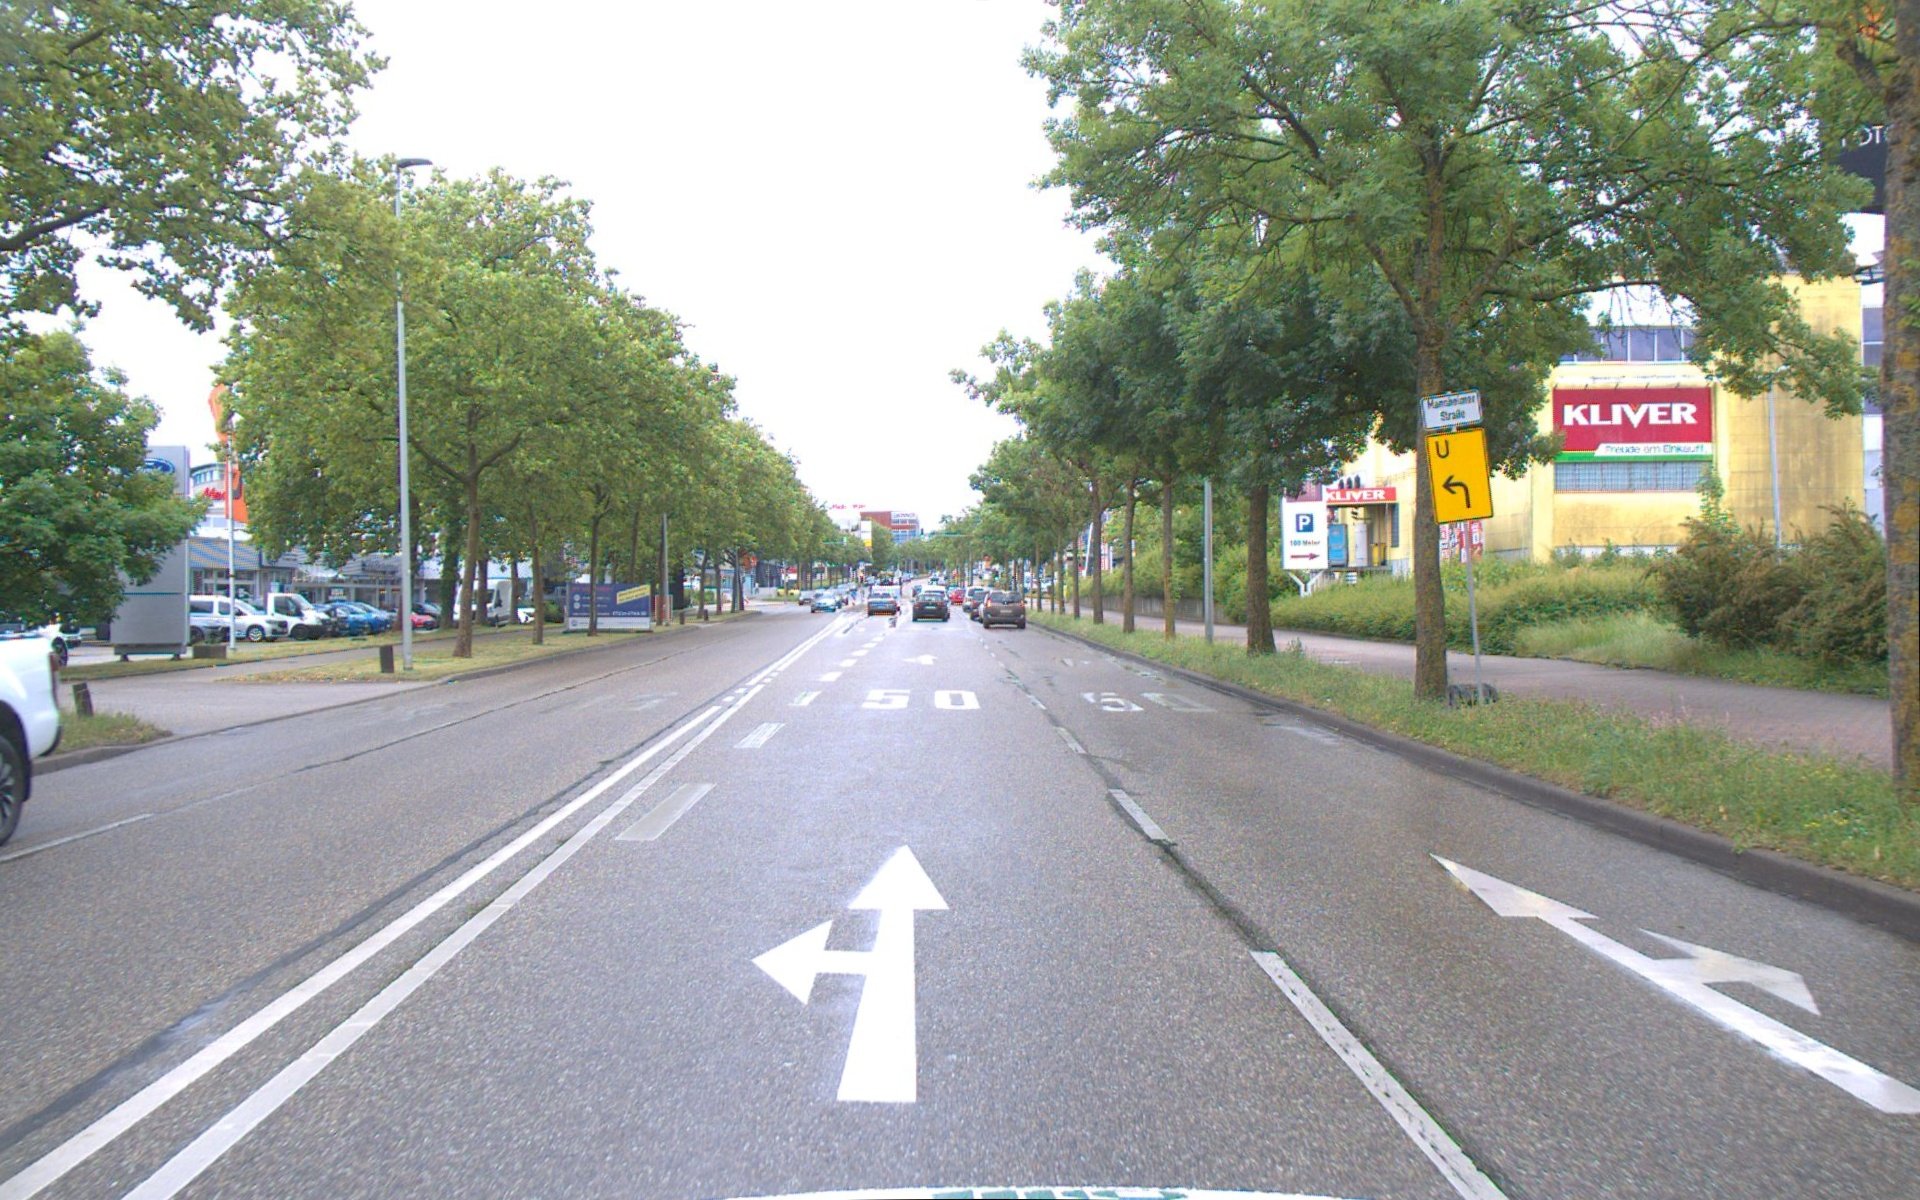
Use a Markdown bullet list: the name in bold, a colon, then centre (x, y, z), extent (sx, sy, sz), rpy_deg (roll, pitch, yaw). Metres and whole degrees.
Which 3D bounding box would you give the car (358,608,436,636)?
- **car**: centre (-32.185, 1.249, 94.550), extent (3.901, 1.493, 1.601), rpy_deg (-1, 0, 11)

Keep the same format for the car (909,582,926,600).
- **car**: centre (-5.005, -1.090, 196.950), extent (1.953, 2.049, 3.999), rpy_deg (1, 0, -1)

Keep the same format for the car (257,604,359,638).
- **car**: centre (-30.213, 0.954, 76.722), extent (3.904, 1.486, 2.034), rpy_deg (-1, 0, 1)

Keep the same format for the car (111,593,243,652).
- **car**: centre (-28.739, 0.819, 60.818), extent (3.908, 2.049, 1.881), rpy_deg (-1, 0, -4)

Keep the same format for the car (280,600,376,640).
- **car**: centre (-30.263, 0.954, 79.210), extent (3.902, 1.797, 1.867), rpy_deg (-1, 0, 14)

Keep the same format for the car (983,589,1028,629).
- **car**: centre (1.953, 0.353, 71.720), extent (1.691, 1.652, 4.470), rpy_deg (-1, 0, -1)

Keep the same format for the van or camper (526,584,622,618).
- **van or camper**: centre (-22.951, 0.039, 98.371), extent (5.220, 1.853, 2.247), rpy_deg (-1, 0, -27)

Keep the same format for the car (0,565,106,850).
- **car**: centre (-7.089, 0.732, 9.356), extent (1.873, 1.837, 5.338), rpy_deg (-2, 0, -3)

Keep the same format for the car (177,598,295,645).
- **car**: centre (-29.246, 0.858, 66.911), extent (3.908, 1.797, 1.881), rpy_deg (-1, 0, -4)

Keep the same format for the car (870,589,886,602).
- **car**: centre (-9.007, -0.492, 181.261), extent (1.649, 1.401, 3.996), rpy_deg (-1, 1, -5)

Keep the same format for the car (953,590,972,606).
- **car**: centre (0.252, -0.204, 151.660), extent (1.661, 1.468, 3.988), rpy_deg (-1, 0, -1)

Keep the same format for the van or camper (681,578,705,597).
- **van or camper**: centre (-29.049, -1.327, 180.118), extent (1.953, 2.001, 4.786), rpy_deg (1, 0, -2)

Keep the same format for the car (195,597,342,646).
- **car**: centre (-29.427, 0.894, 70.542), extent (5.270, 1.936, 2.413), rpy_deg (-1, 0, -5)

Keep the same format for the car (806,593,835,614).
- **car**: centre (-10.487, 0.266, 124.056), extent (1.956, 1.454, 4.678), rpy_deg (-2, 0, -7)

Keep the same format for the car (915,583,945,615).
- **car**: centre (-1.986, -0.046, 108.847), extent (1.953, 2.049, 3.999), rpy_deg (1, 0, -2)

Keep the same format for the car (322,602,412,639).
- **car**: centre (-30.247, 1.022, 84.393), extent (3.902, 1.797, 1.866), rpy_deg (-1, 0, 15)

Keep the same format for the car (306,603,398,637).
- **car**: centre (-30.071, 0.988, 81.825), extent (3.902, 1.547, 1.867), rpy_deg (-1, 0, 13)

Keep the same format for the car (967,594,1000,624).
- **car**: centre (1.309, 0.492, 93.818), extent (1.764, 1.614, 4.450), rpy_deg (1, 1, -1)

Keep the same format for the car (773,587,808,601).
- **car**: centre (-20.683, -0.758, 201.976), extent (3.916, 1.579, 1.895), rpy_deg (-1, 1, 33)

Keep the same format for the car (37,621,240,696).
- **car**: centre (-24.497, 1.733, 49.453), extent (4.945, 2.049, 2.128), rpy_deg (-1, 0, -4)

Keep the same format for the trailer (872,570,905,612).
- **trailer**: centre (-5.346, -0.673, 123.359), extent (2.325, 2.947, 5.543), rpy_deg (-1, 0, -3)

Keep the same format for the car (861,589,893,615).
- **car**: centre (-5.411, 0.102, 108.165), extent (1.868, 1.606, 4.879), rpy_deg (-2, 0, -1)

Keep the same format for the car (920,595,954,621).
- **car**: centre (-1.353, 0.443, 96.159), extent (1.649, 1.401, 3.996), rpy_deg (-1, 1, -5)

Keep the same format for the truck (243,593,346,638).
- **truck**: centre (-29.680, 0.671, 73.849), extent (3.916, 1.870, 1.995), rpy_deg (-1, 0, -11)

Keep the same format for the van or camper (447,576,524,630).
- **van or camper**: centre (-22.781, 0.120, 79.698), extent (1.953, 2.513, 6.400), rpy_deg (0, 0, -1)

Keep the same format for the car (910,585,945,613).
- **car**: centre (-1.720, -0.069, 86.078), extent (1.746, 1.422, 3.999), rpy_deg (0, 0, -2)
